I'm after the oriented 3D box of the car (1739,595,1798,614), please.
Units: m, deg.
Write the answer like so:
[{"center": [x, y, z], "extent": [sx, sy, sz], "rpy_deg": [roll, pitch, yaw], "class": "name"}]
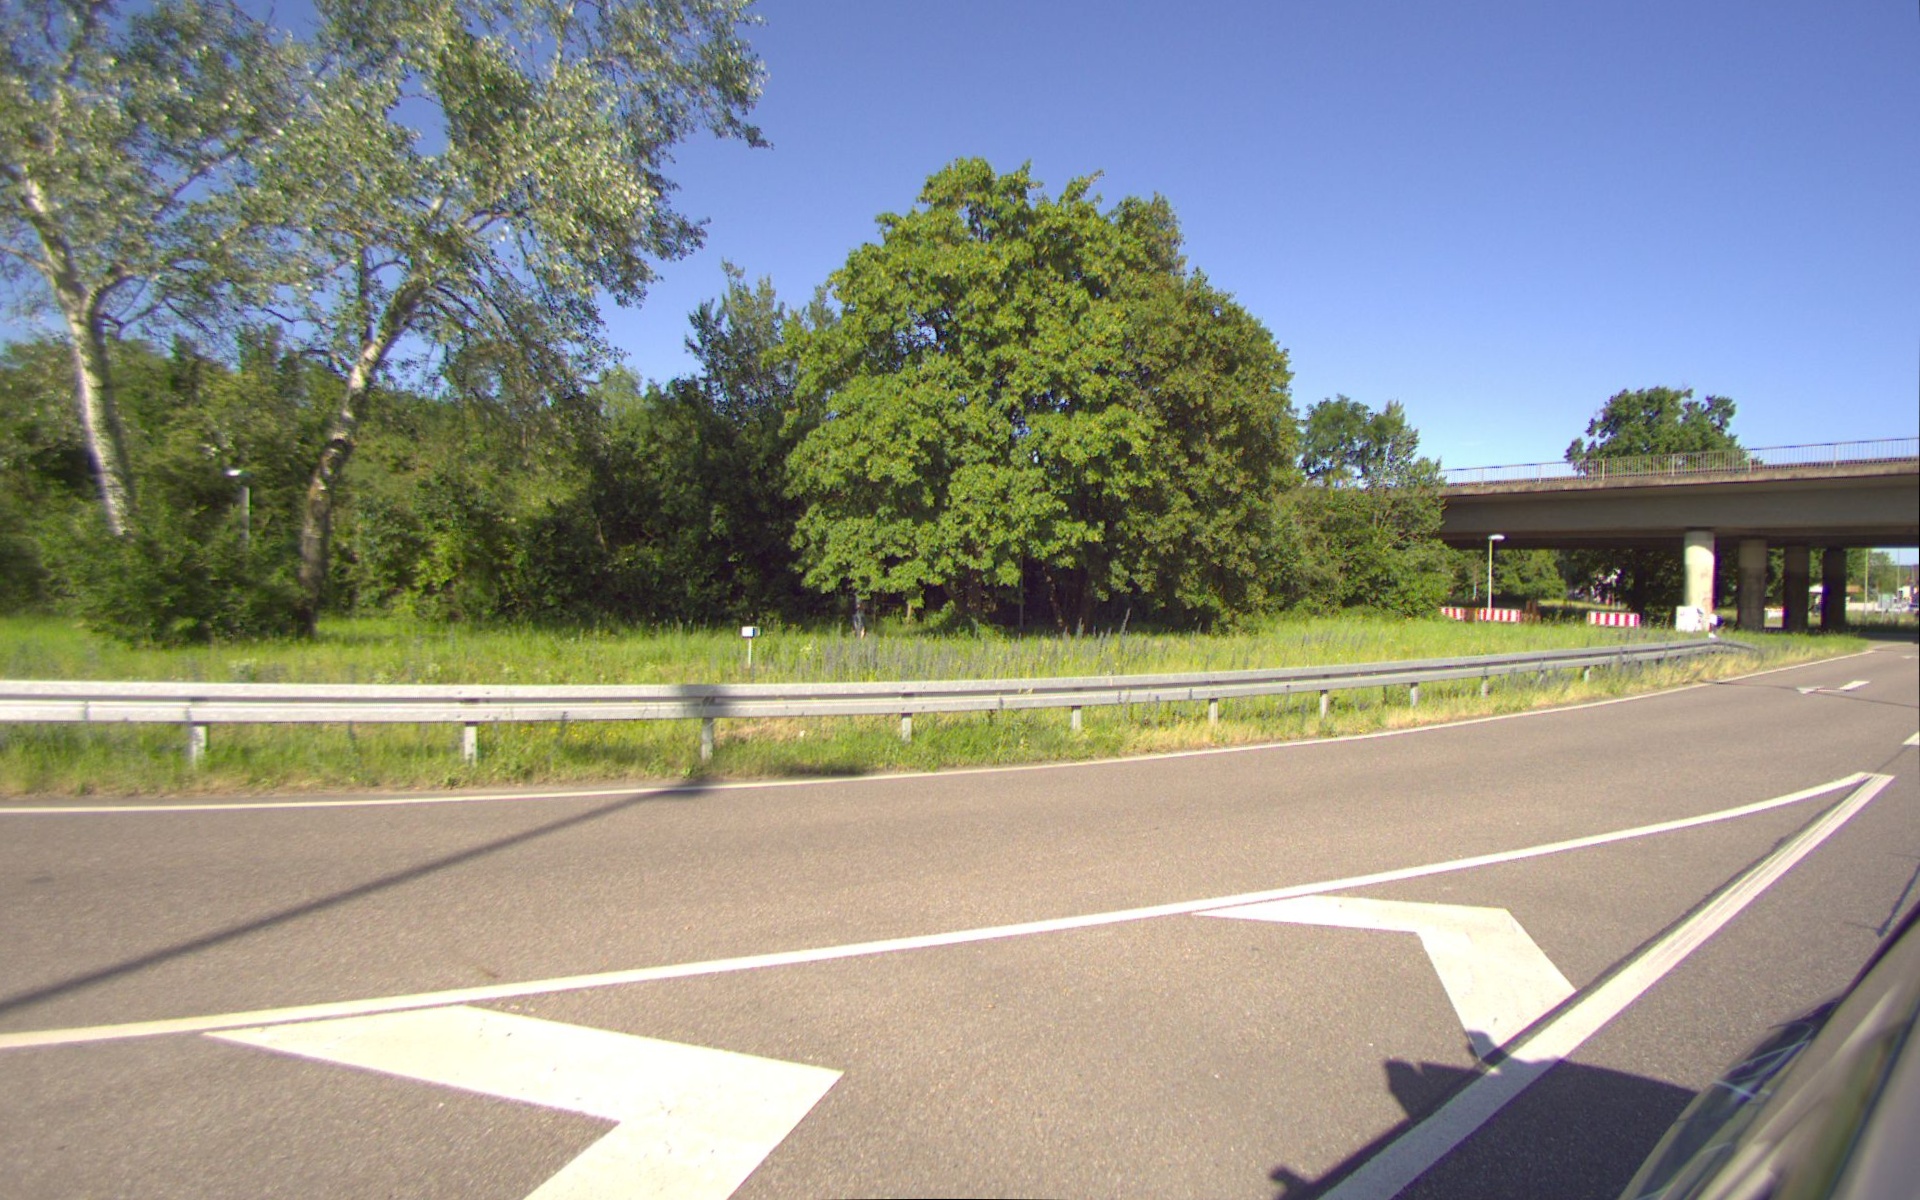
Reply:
[{"center": [71.083, 0.346, 89.048], "extent": [1.793, 1.556, 4.043], "rpy_deg": [1, 1, -1], "class": "car"}]
